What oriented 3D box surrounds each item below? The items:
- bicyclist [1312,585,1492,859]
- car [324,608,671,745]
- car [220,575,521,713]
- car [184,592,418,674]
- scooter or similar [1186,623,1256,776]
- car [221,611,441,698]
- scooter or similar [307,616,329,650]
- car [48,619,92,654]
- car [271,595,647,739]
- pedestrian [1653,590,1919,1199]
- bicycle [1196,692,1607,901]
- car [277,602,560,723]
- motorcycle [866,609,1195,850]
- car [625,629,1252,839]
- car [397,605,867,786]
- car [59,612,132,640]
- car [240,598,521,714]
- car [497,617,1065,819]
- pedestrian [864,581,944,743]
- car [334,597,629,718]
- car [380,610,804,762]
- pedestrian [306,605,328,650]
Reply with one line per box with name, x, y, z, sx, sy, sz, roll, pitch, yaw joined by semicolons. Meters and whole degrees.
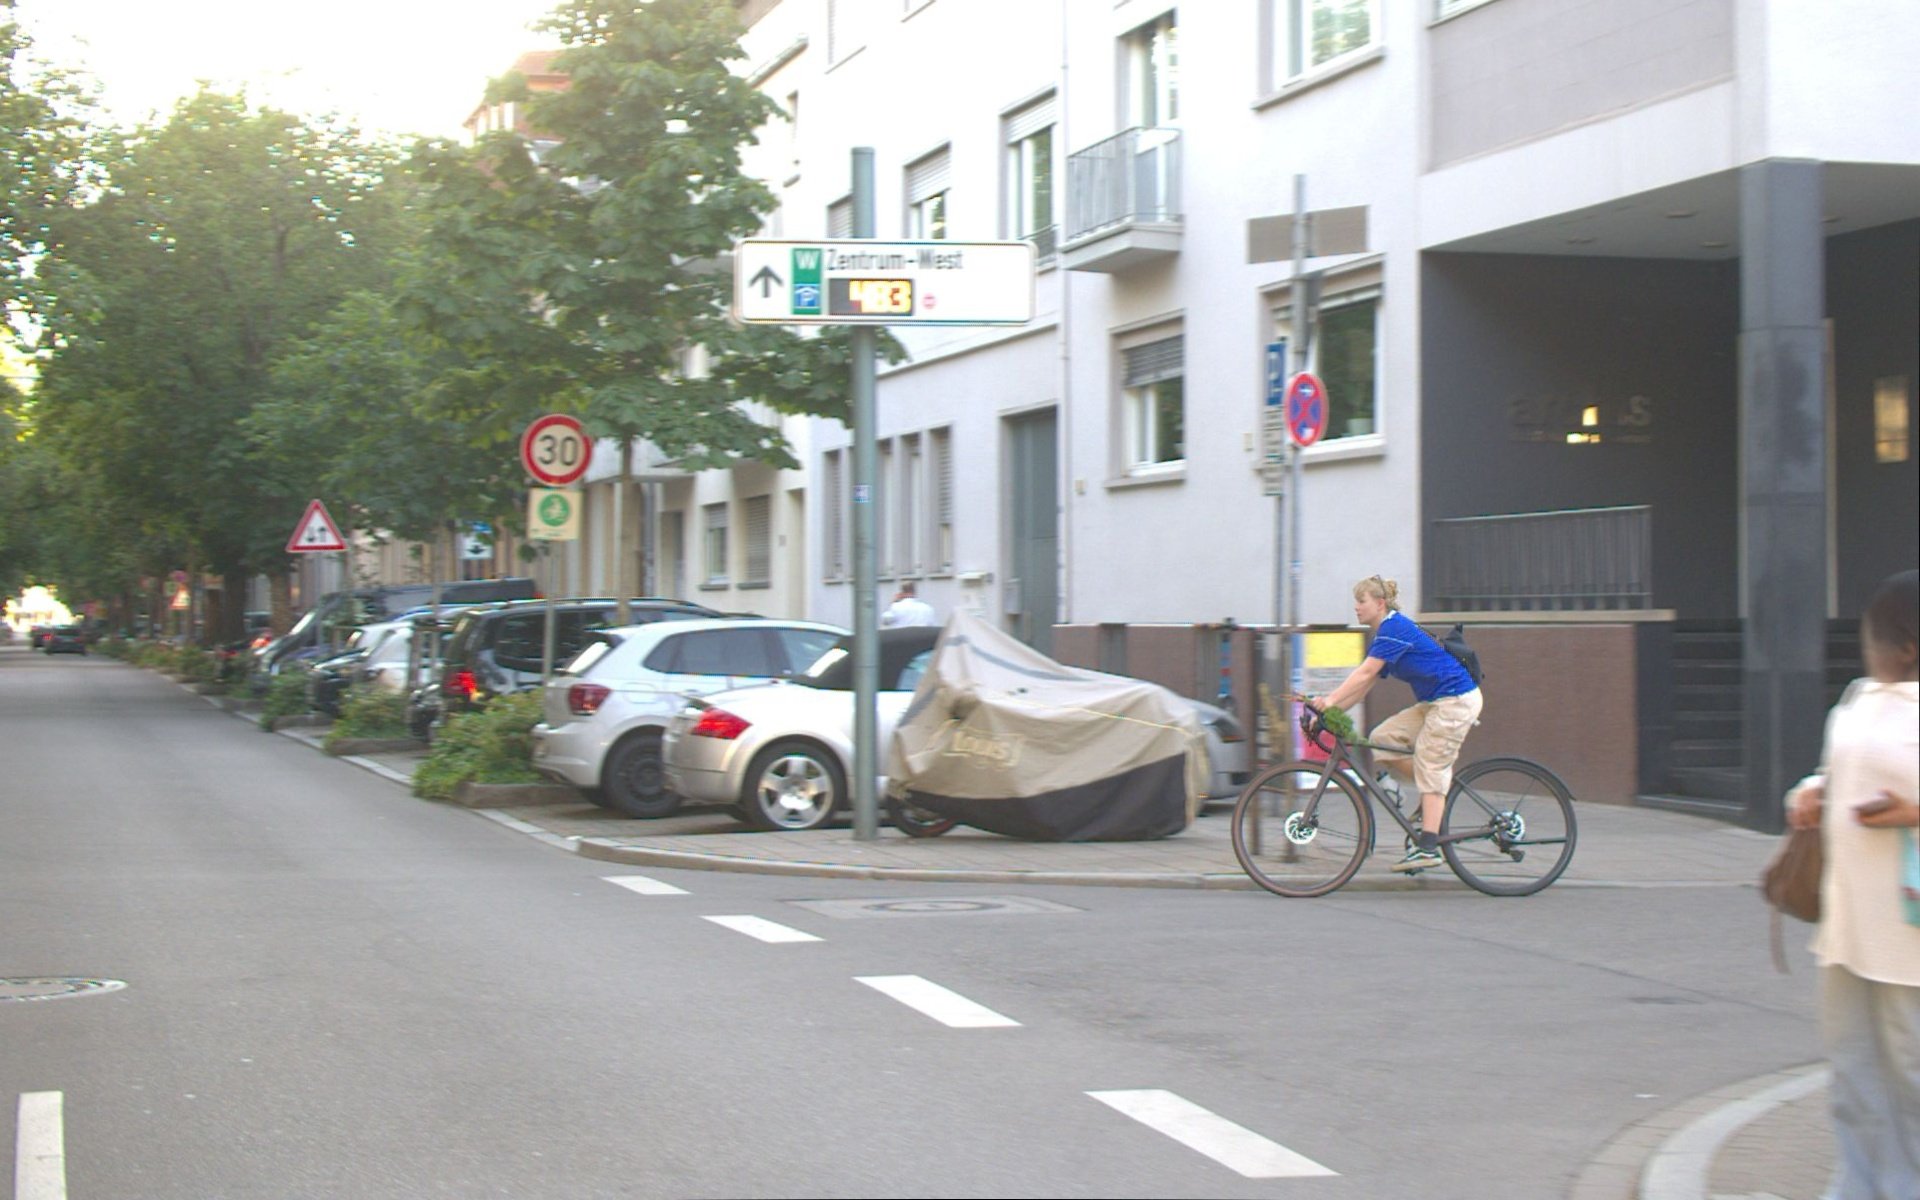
bicyclist;2.240;0.616;17.475;0.774;1.359;0.674;1;-2;-5
car;-5.794;0.934;42.909;4.073;1.424;1.818;-3;0;-13
car;-9.903;0.723;57.701;4.688;2.004;2.038;-3;0;-16
car;-13.358;0.661;69.618;4.399;1.389;1.886;-3;0;-17
scooter or similar;2.162;0.810;28.538;0.345;1.235;1.421;0;0;-5
car;-12.334;1.059;67.395;3.986;1.433;1.927;-3;0;-17
scooter or similar;-21.645;1.104;115.928;0.654;1.149;0.831;-1;0;-14
car;-42.194;1.750;162.926;1.956;1.560;4.283;-2;-1;-15
car;-6.607;0.862;45.230;4.589;1.573;1.945;-3;0;-16
pedestrian;2.081;0.736;7.841;0.598;1.506;0.720;-2;0;-44
bicycle;2.230;0.990;17.470;1.970;1.026;0.674;1;-2;-5
car;-8.258;0.937;52.333;3.964;1.573;1.852;-3;0;-16
motorcycle;0.403;0.760;20.654;1.907;1.387;1.000;-1;-1;-2
car;-0.190;0.874;23.386;3.986;1.328;1.794;0;0;-12
car;-3.086;0.855;32.050;4.108;1.612;1.961;0;0;-14
car;-52.830;1.575;210.061;4.267;1.560;1.963;-2;-1;-15
car;-9.337;0.887;55.303;4.154;1.573;1.970;-3;0;-17
car;-1.376;0.844;25.839;3.986;1.433;1.794;0;0;-14
pedestrian;-0.633;0.683;38.553;0.697;1.789;0.881;0;0;-14
car;-6.683;0.787;47.931;3.792;1.418;1.698;-3;0;-16
car;-4.019;0.911;37.377;4.314;1.491;1.794;-1;0;-16
pedestrian;-21.805;0.926;116.527;0.654;1.531;0.831;-1;0;-14
